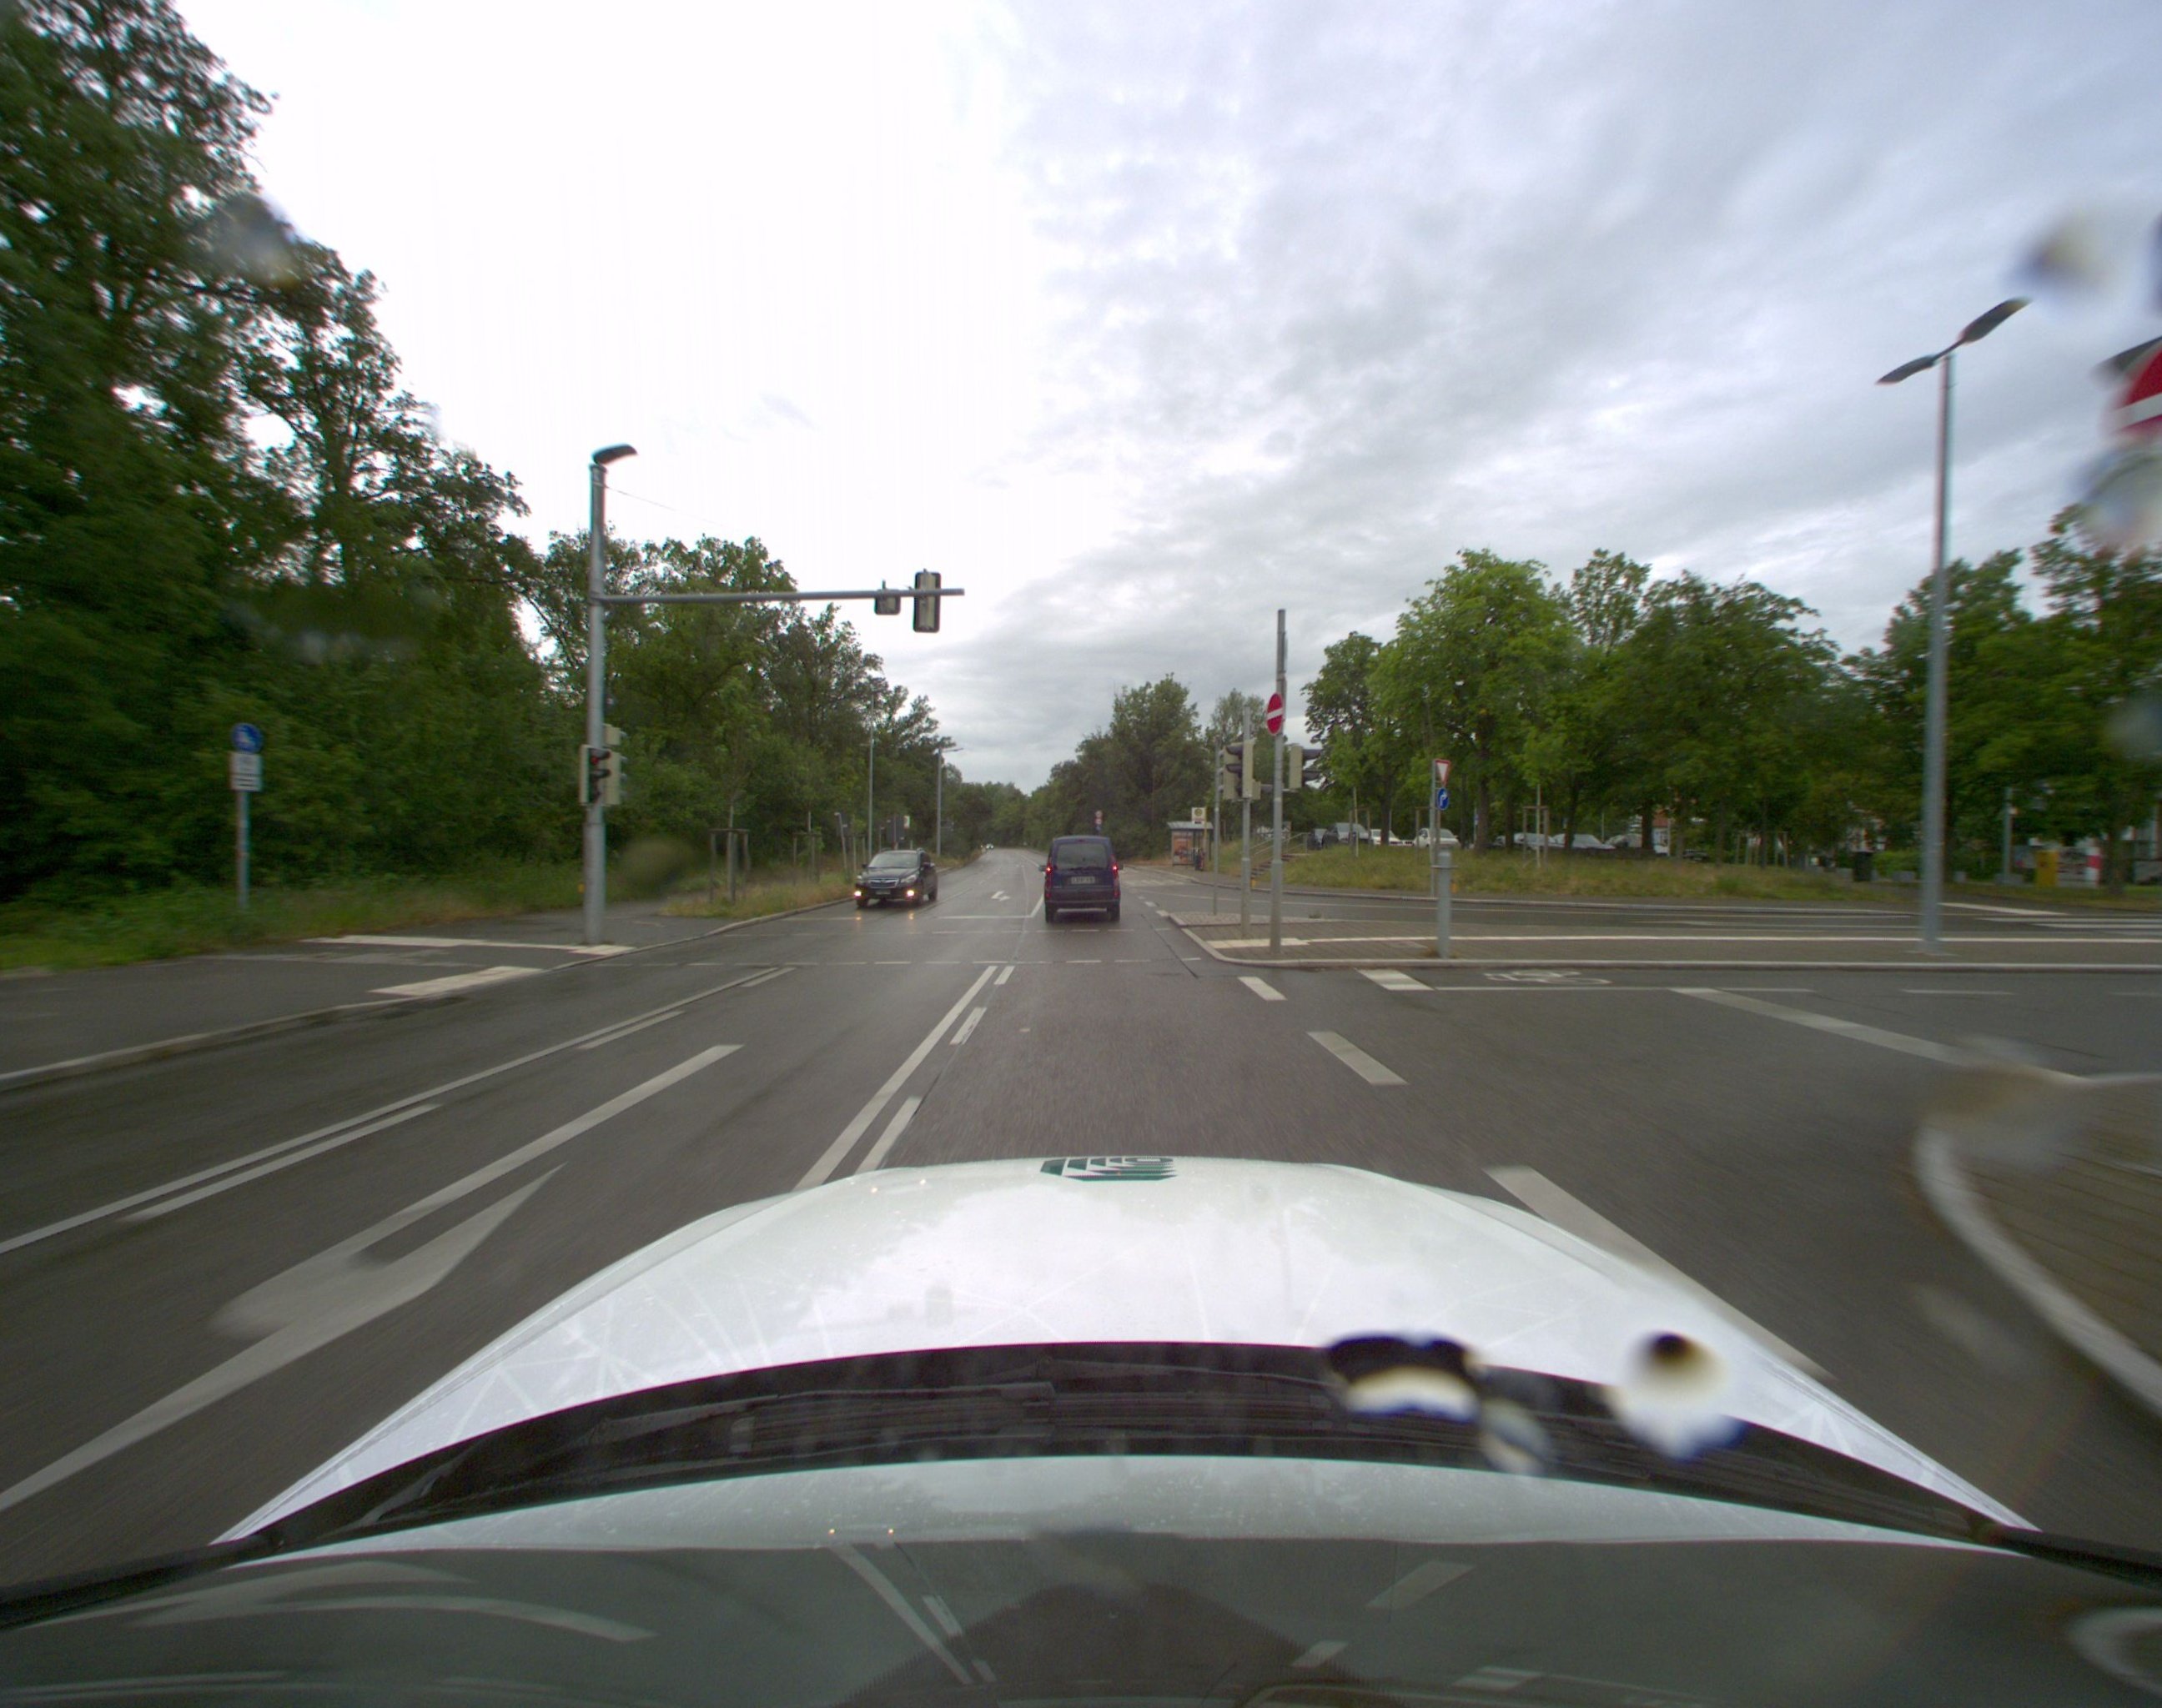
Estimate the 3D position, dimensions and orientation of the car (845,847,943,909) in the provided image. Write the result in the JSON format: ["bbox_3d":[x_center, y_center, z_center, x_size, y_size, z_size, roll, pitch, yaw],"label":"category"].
[{"bbox_3d":[-5.238,0.588,23.388,1.784,1.581,4.560,0,1,-1],"label":"car"}]

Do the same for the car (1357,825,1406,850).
[{"bbox_3d":[19.747,-1.039,53.628,1.877,1.480,4.072,3,0,4],"label":"car"}]

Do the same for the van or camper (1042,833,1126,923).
[{"bbox_3d":[-0.029,0.482,18.810,1.708,1.825,3.996,1,0,-3],"label":"van or camper"}]

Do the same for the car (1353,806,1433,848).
[{"bbox_3d":[13.955,-1.184,36.702,1.988,1.661,3.999,3,1,-1],"label":"car"}]

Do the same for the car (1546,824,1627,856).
[{"bbox_3d":[25.894,-0.665,41.856,1.876,1.480,4.074,2,0,5],"label":"car"}]

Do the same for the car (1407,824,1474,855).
[{"bbox_3d":[18.905,-0.748,43.005,1.877,1.480,4.072,2,0,4],"label":"car"}]

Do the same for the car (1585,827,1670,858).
[{"bbox_3d":[28.955,-0.566,43.297,1.878,1.480,4.071,2,0,2],"label":"car"}]

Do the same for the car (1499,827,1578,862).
[{"bbox_3d":[23.871,-0.518,42.675,1.986,1.661,4.003,3,1,2],"label":"car"}]

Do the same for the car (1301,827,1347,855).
[{"bbox_3d":[17.668,-0.945,59.428,1.989,2.013,3.996,0,1,-3],"label":"car"}]

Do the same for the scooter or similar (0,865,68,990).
[{"bbox_3d":[-10.956,0.735,7.828,0.515,1.212,1.471,1,0,6],"label":"scooter or similar"}]

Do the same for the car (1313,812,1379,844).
[{"bbox_3d":[13.856,-1.316,42.918,1.988,1.480,4.282,2,0,-1],"label":"car"}]

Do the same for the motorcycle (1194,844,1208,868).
[{"bbox_3d":[6.336,0.094,42.948,0.585,1.289,1.543,0,1,12],"label":"motorcycle"}]
